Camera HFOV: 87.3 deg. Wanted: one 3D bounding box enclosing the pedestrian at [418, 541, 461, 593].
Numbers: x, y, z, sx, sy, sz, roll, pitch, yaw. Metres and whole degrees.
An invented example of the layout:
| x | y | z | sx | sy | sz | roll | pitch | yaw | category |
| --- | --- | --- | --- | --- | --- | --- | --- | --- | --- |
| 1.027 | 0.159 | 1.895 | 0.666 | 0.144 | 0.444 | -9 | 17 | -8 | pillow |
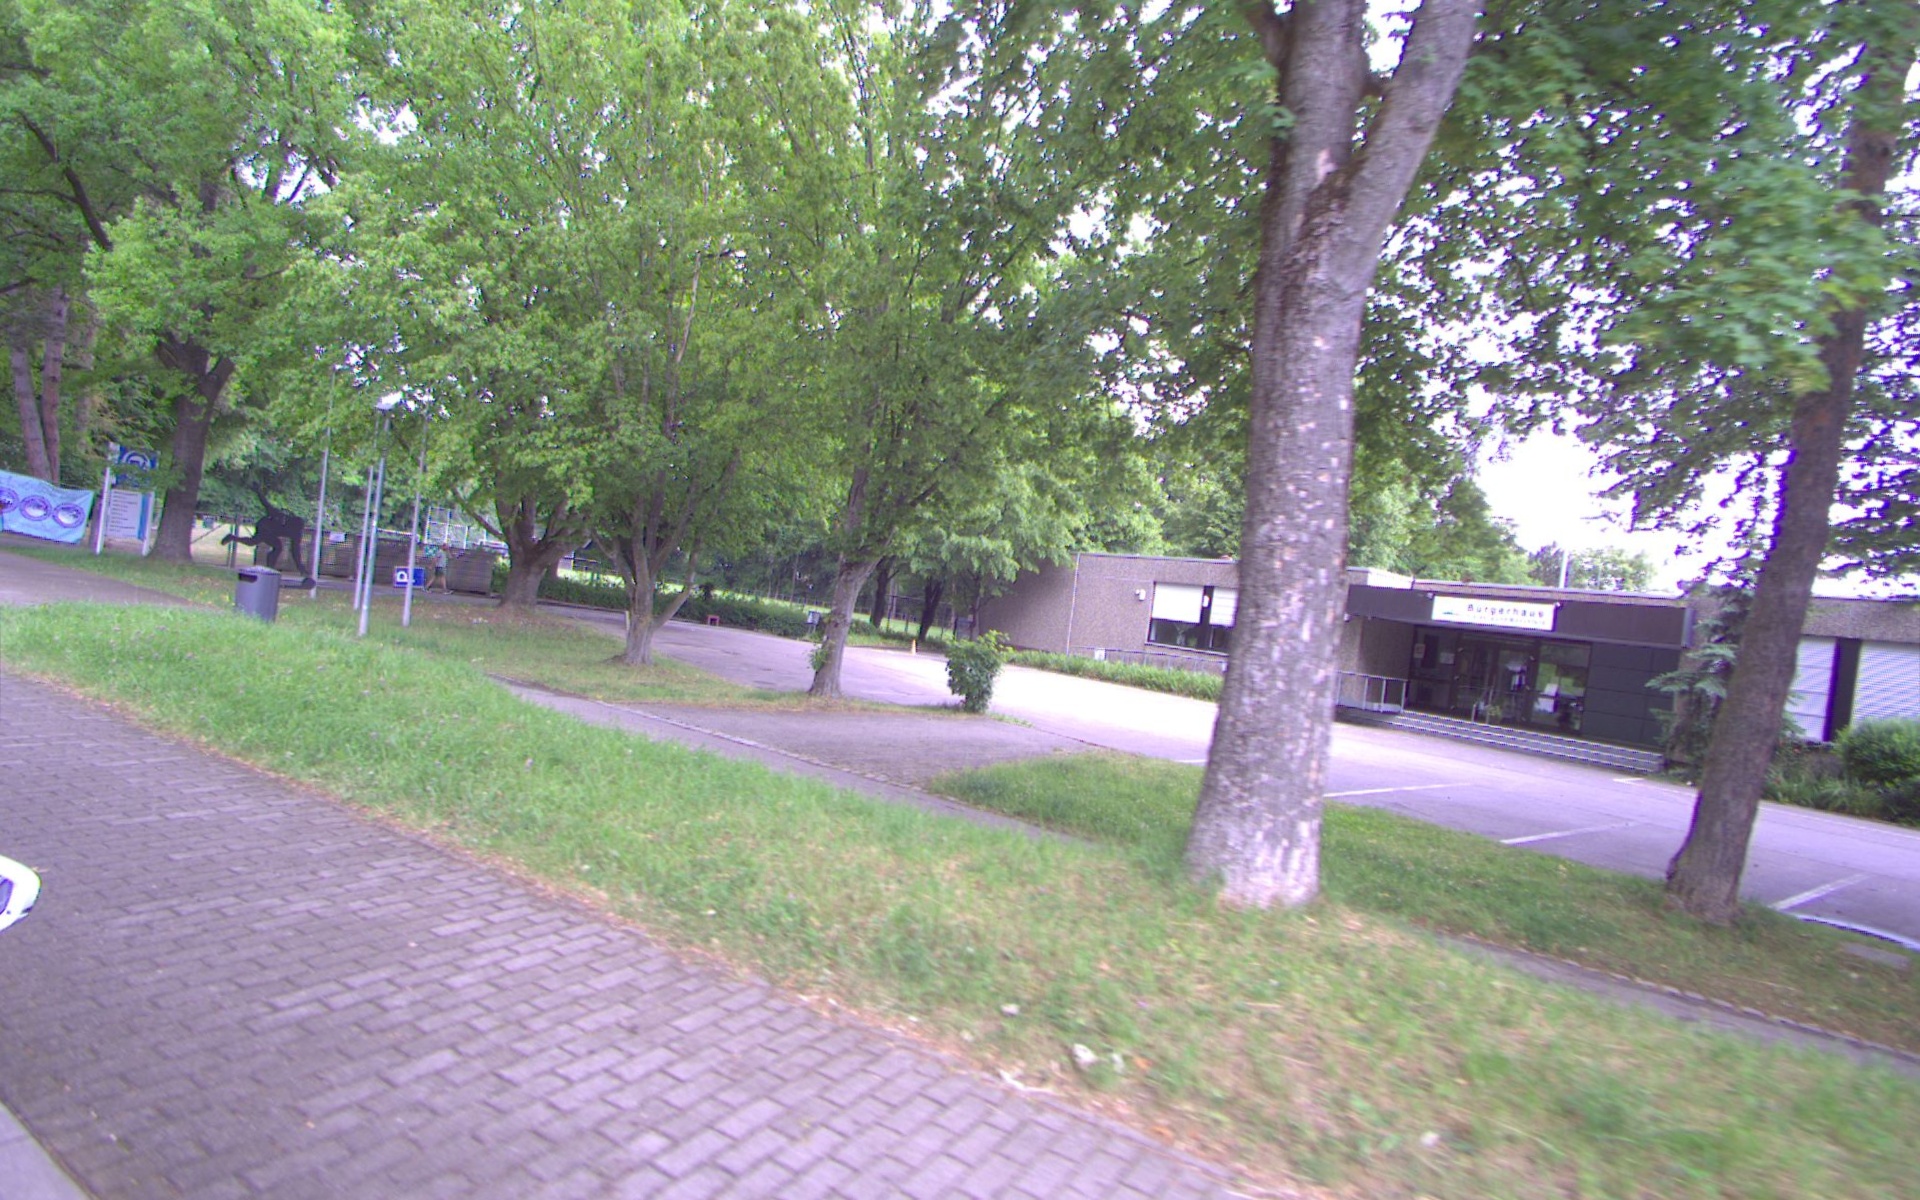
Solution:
| x | y | z | sx | sy | sz | roll | pitch | yaw | category |
| --- | --- | --- | --- | --- | --- | --- | --- | --- | --- |
| -18.257 | -1.158 | 35.286 | 1.140 | 1.696 | 0.786 | 5 | 1 | -34 | pedestrian |
